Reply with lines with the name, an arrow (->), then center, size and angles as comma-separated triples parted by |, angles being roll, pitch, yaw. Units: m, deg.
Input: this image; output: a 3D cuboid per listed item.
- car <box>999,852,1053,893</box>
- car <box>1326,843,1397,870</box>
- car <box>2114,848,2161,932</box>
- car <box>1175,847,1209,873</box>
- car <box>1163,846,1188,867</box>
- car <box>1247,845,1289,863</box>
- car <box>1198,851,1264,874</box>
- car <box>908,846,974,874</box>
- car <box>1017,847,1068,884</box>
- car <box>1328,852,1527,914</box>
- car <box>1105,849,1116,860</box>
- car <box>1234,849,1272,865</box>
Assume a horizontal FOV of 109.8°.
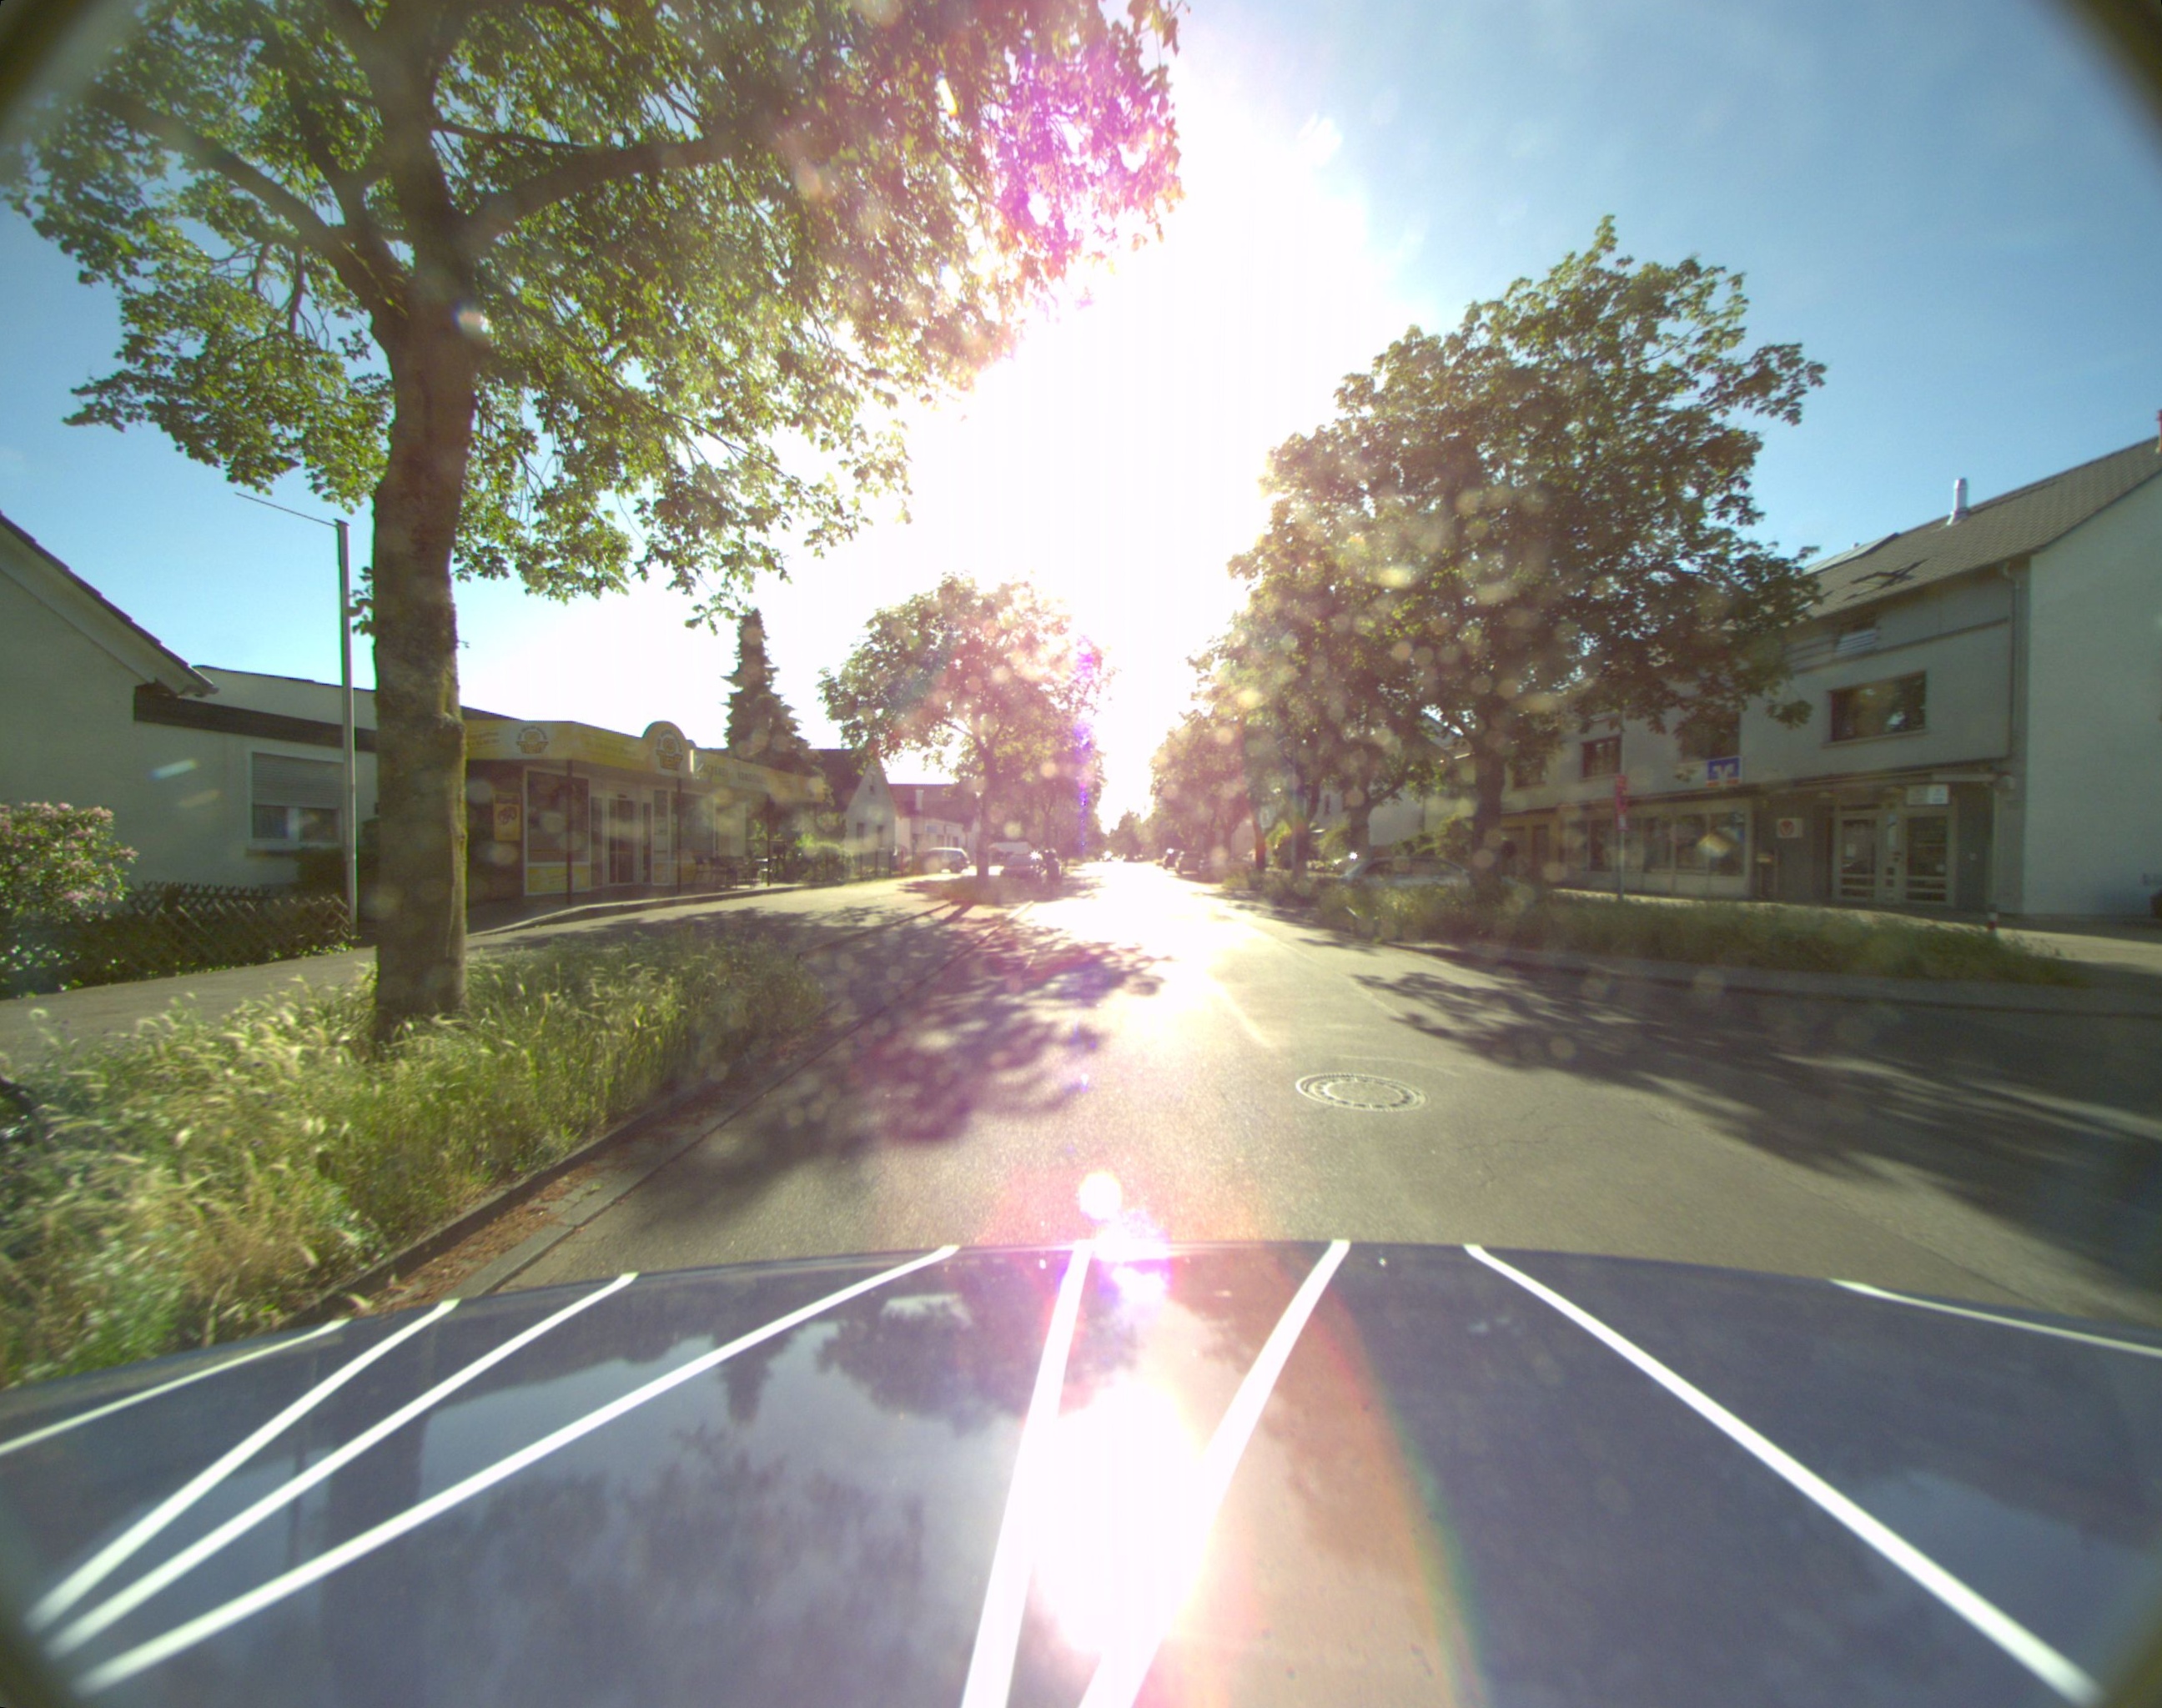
car -> -2.136, 0.674, 30.447 | 1.689, 1.414, 3.777 | 1, 2, 3
car -> 17.363, 0.122, 47.154 | 3.773, 1.557, 1.691 | 1, 2, 5
car -> 21.243, 0.772, 12.367 | 1.999, 1.555, 4.905 | 0, 3, -3
car -> 7.588, 0.385, 52.391 | 1.998, 1.530, 3.695 | -3, 1, 4
car -> 7.882, 0.195, 63.700 | 1.815, 1.722, 4.056 | 0, 1, 4
car -> 19.955, -0.032, 81.124 | 3.997, 1.674, 2.000 | -3, 1, 1
car -> 9.353, 0.524, 47.504 | 3.694, 1.315, 1.624 | -2, 1, -4
car -> -8.383, 0.329, 45.654 | 3.621, 1.431, 1.695 | -3, 1, -1
car -> -1.793, 0.502, 36.740 | 1.941, 1.684, 4.363 | 0, 1, 4
car -> 9.077, 0.733, 20.194 | 4.392, 1.408, 2.000 | -1, 1, 1
car -> 4.789, 0.091, 122.670 | 1.539, 1.583, 3.458 | -3, 1, 4
car -> 20.064, 0.320, 88.854 | 3.997, 1.674, 2.000 | -3, 1, 1
